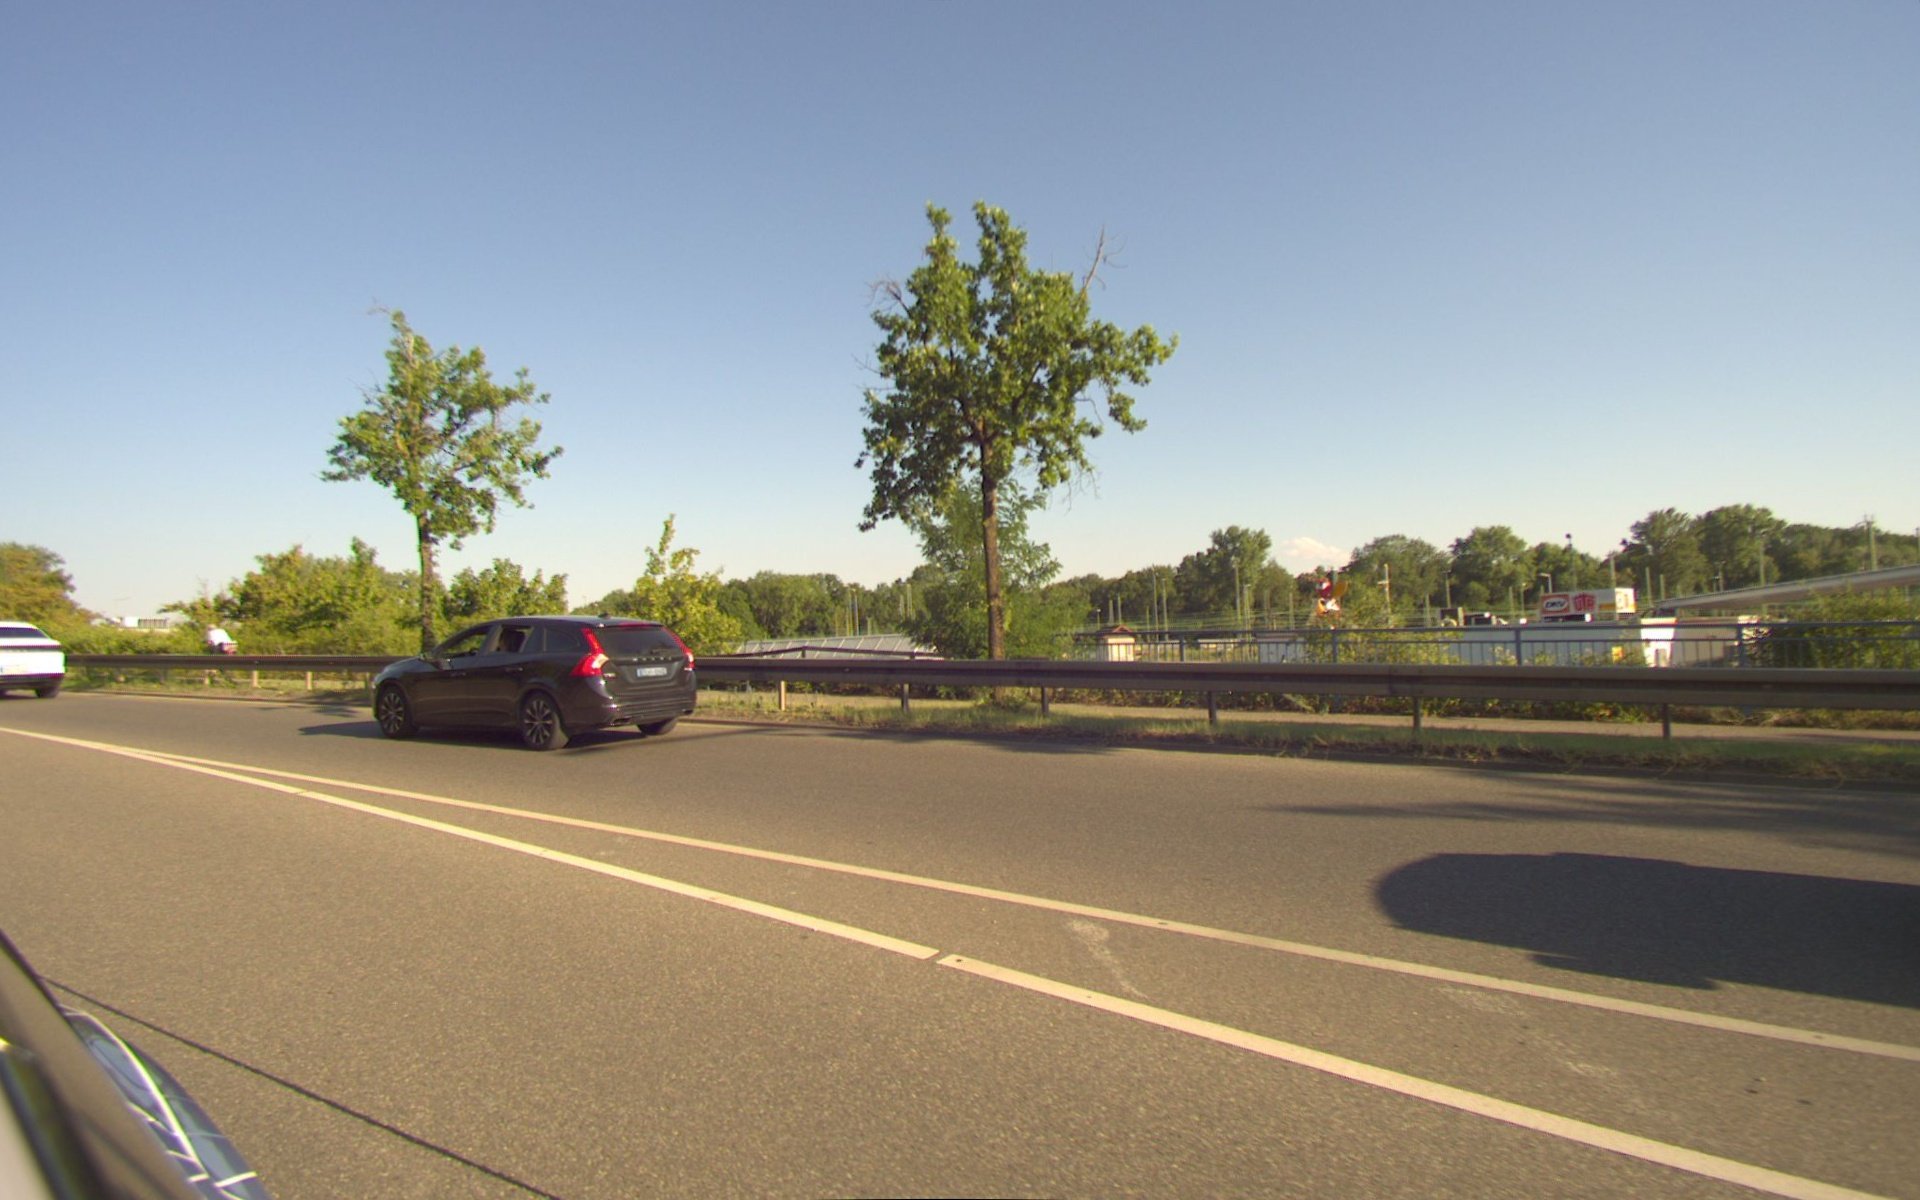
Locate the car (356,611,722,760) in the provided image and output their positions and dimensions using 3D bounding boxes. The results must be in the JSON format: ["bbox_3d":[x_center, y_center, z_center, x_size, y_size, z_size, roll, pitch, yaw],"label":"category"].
[{"bbox_3d":[-5.058,0.913,12.002,4.366,1.477,1.760,-2,-1,31],"label":"car"}]

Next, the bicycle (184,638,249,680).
[{"bbox_3d":[-19.931,1.562,27.114,2.305,1.085,0.577,-1,-3,33],"label":"bicycle"}]

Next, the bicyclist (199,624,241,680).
[{"bbox_3d":[-19.768,1.376,27.030,0.826,1.470,0.594,-1,-3,32],"label":"bicyclist"}]

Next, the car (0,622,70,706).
[{"bbox_3d":[-20.416,1.288,20.849,4.631,1.601,1.814,-1,-2,31],"label":"car"}]
